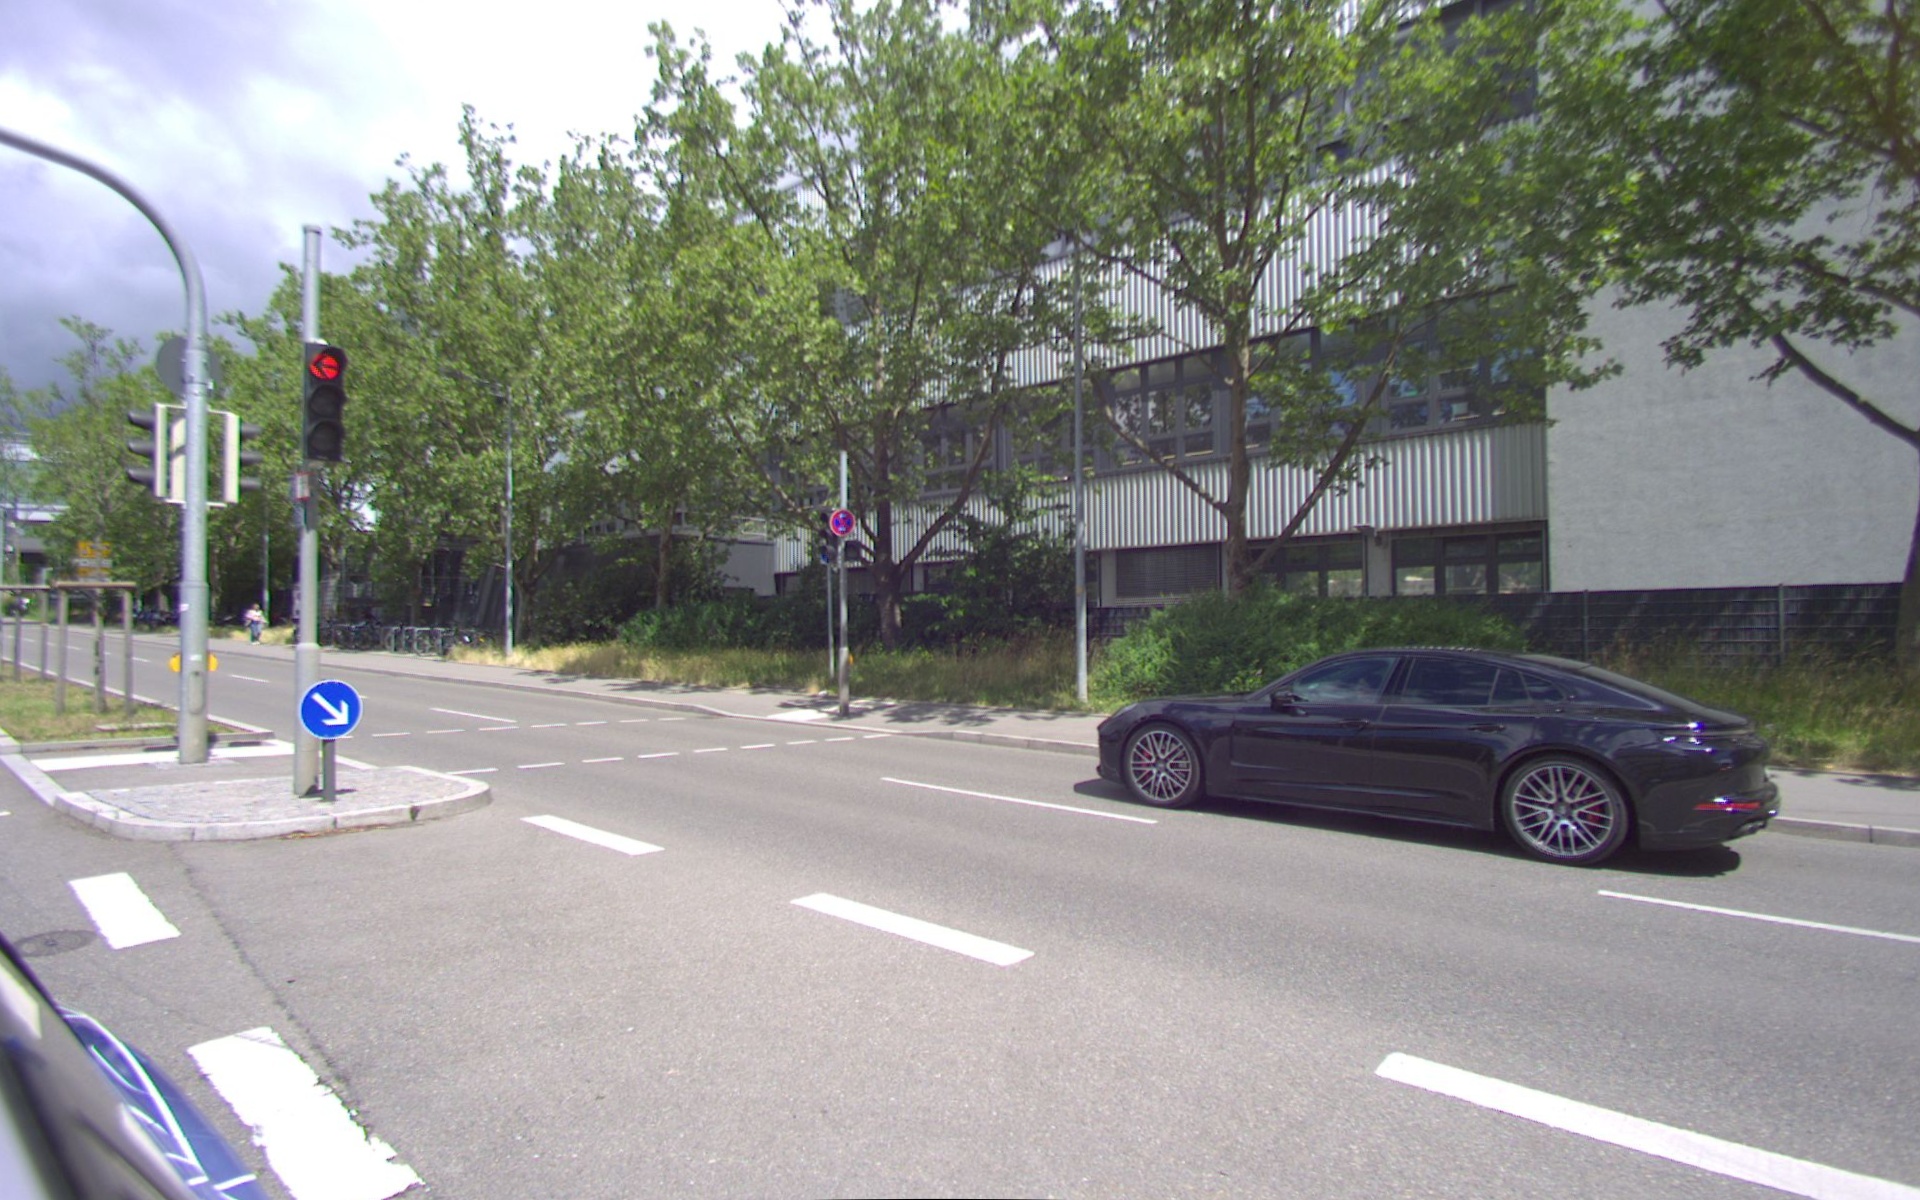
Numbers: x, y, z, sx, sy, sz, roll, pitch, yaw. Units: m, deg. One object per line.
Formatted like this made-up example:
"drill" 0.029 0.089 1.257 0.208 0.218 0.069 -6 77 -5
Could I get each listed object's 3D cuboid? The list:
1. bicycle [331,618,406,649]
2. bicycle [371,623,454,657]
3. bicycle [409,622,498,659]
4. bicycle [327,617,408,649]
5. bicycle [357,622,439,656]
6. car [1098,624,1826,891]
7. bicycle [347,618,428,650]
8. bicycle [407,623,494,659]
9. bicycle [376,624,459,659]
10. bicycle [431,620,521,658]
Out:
"bicycle" -22.557 1.279 38.629 0.615 1.093 2.383 -1 0 40
"bicycle" -19.174 1.387 35.519 0.615 1.093 2.532 -1 0 38
"bicycle" -16.380 1.303 32.790 2.526 1.093 0.616 -1 0 -44
"bicycle" -22.148 1.224 37.867 2.526 1.093 0.616 -1 0 -44
"bicycle" -20.001 1.383 36.084 0.615 1.093 2.531 -1 0 39
"car" 3.652 0.963 7.992 4.764 1.465 1.973 -1 -3 40
"bicycle" -21.132 1.242 37.384 2.522 1.093 0.617 -1 0 -37
"bicycle" -16.944 1.332 33.713 2.525 1.093 0.616 -1 0 -42
"bicycle" -18.601 1.413 34.758 0.614 1.093 2.536 -1 0 32
"bicycle" -15.339 1.227 32.134 2.526 1.093 0.616 -1 0 -44
